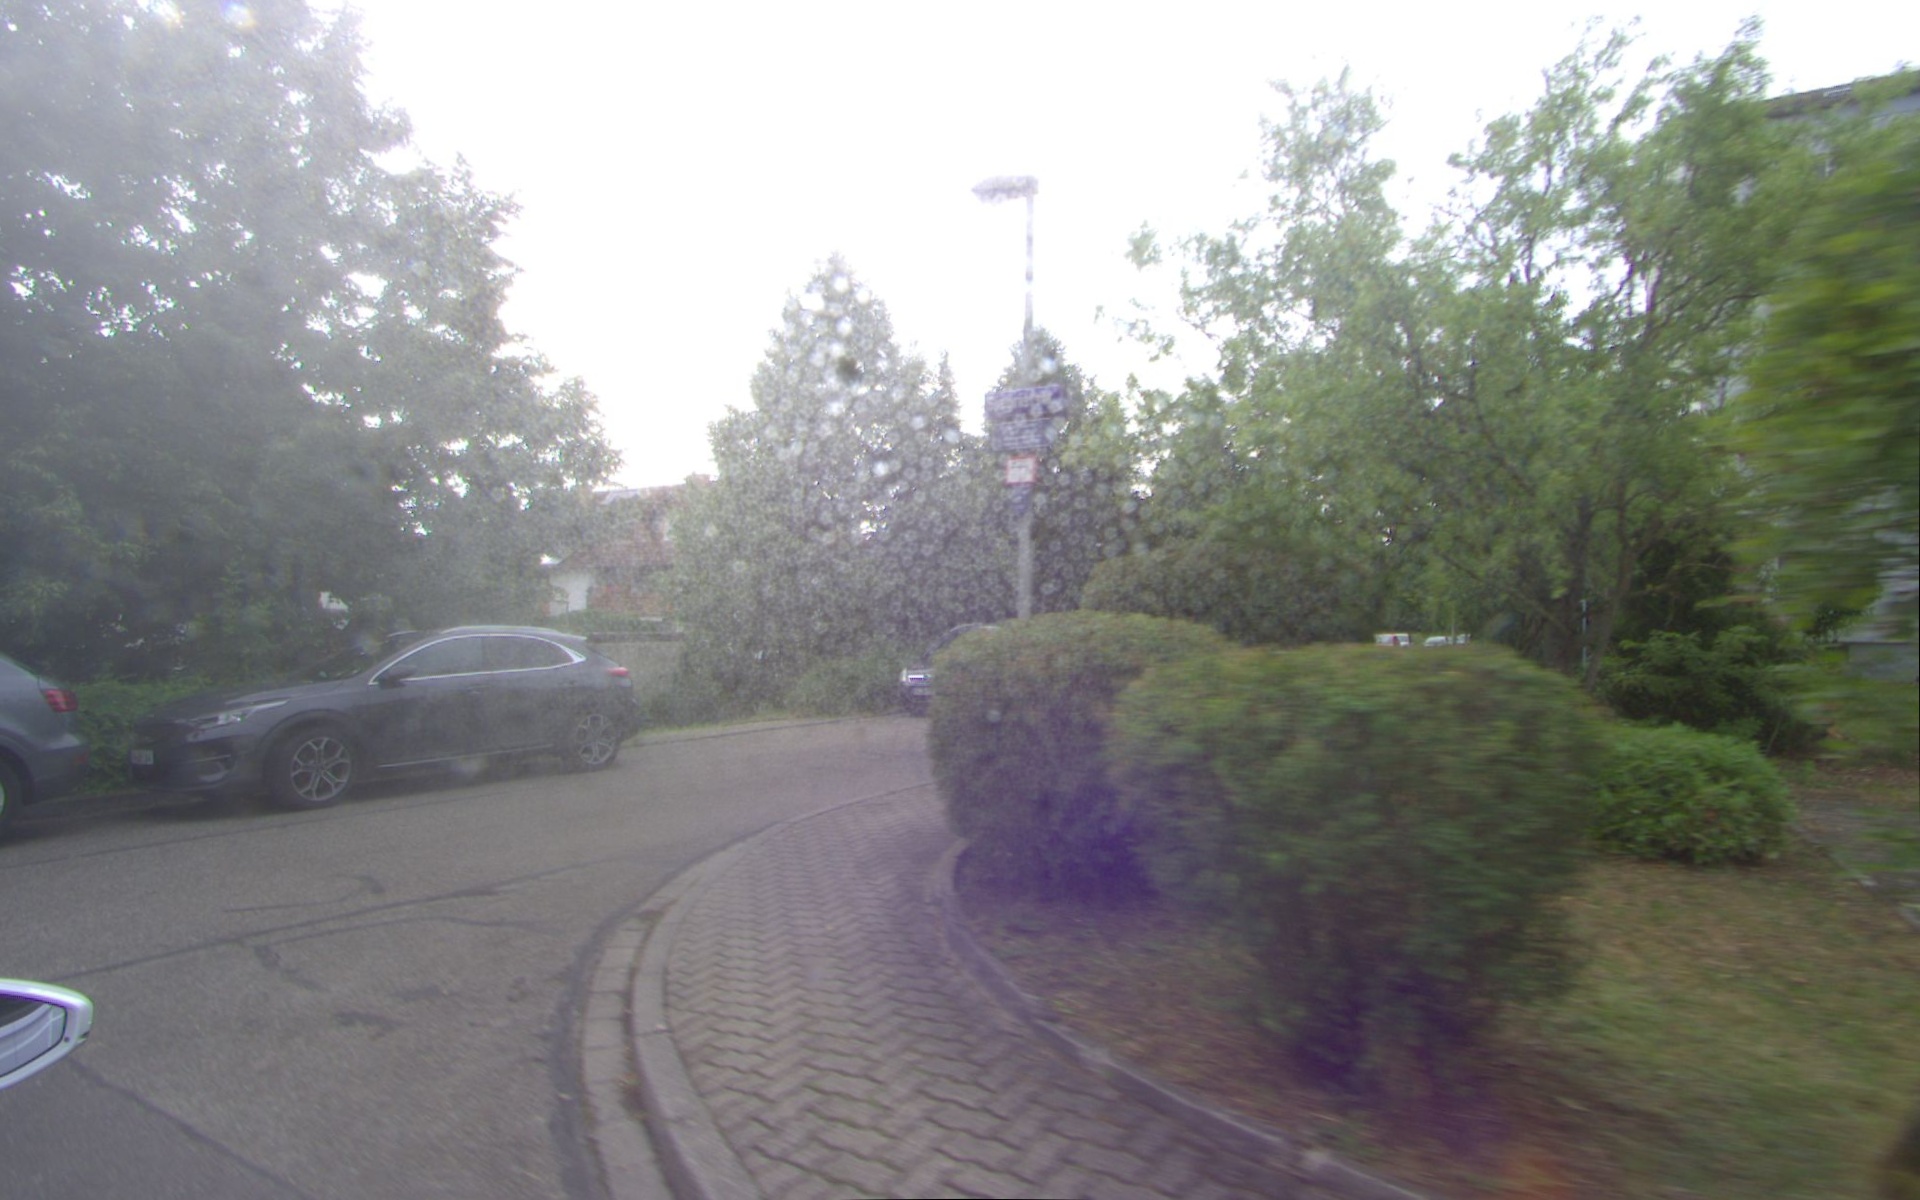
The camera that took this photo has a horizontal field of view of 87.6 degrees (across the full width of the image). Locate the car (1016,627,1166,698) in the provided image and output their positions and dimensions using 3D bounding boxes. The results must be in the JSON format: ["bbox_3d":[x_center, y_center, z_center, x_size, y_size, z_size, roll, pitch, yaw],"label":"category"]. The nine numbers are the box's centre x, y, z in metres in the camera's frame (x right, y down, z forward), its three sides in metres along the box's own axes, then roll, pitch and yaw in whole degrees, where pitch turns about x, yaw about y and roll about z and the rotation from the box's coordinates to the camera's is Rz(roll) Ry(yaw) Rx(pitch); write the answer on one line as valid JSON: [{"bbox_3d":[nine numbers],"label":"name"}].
[{"bbox_3d":[3.162,1.418,23.458,1.740,1.497,4.281,-3,-3,34],"label":"car"}]

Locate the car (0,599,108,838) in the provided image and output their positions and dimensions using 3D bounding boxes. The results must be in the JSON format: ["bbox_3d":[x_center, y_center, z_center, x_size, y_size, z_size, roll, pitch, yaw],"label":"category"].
[{"bbox_3d":[-7.731,0.759,5.580,1.721,1.550,4.234,-2,-3,29],"label":"car"}]

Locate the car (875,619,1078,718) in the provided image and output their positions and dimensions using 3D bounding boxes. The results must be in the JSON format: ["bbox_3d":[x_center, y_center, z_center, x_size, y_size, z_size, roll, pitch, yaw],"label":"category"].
[{"bbox_3d":[0.459,1.223,18.775,1.738,1.613,4.531,-3,-3,31],"label":"car"}]

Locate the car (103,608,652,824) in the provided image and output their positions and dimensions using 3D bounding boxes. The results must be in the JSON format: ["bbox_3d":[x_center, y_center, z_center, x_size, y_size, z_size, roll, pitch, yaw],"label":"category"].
[{"bbox_3d":[-5.161,0.926,9.456,1.724,1.550,4.172,-2,-3,34],"label":"car"}]

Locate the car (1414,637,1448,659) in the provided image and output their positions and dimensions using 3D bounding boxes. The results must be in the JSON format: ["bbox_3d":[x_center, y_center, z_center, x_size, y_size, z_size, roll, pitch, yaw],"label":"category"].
[{"bbox_3d":[35.243,3.584,74.866,1.733,1.538,3.980,-2,-3,33],"label":"car"}]
